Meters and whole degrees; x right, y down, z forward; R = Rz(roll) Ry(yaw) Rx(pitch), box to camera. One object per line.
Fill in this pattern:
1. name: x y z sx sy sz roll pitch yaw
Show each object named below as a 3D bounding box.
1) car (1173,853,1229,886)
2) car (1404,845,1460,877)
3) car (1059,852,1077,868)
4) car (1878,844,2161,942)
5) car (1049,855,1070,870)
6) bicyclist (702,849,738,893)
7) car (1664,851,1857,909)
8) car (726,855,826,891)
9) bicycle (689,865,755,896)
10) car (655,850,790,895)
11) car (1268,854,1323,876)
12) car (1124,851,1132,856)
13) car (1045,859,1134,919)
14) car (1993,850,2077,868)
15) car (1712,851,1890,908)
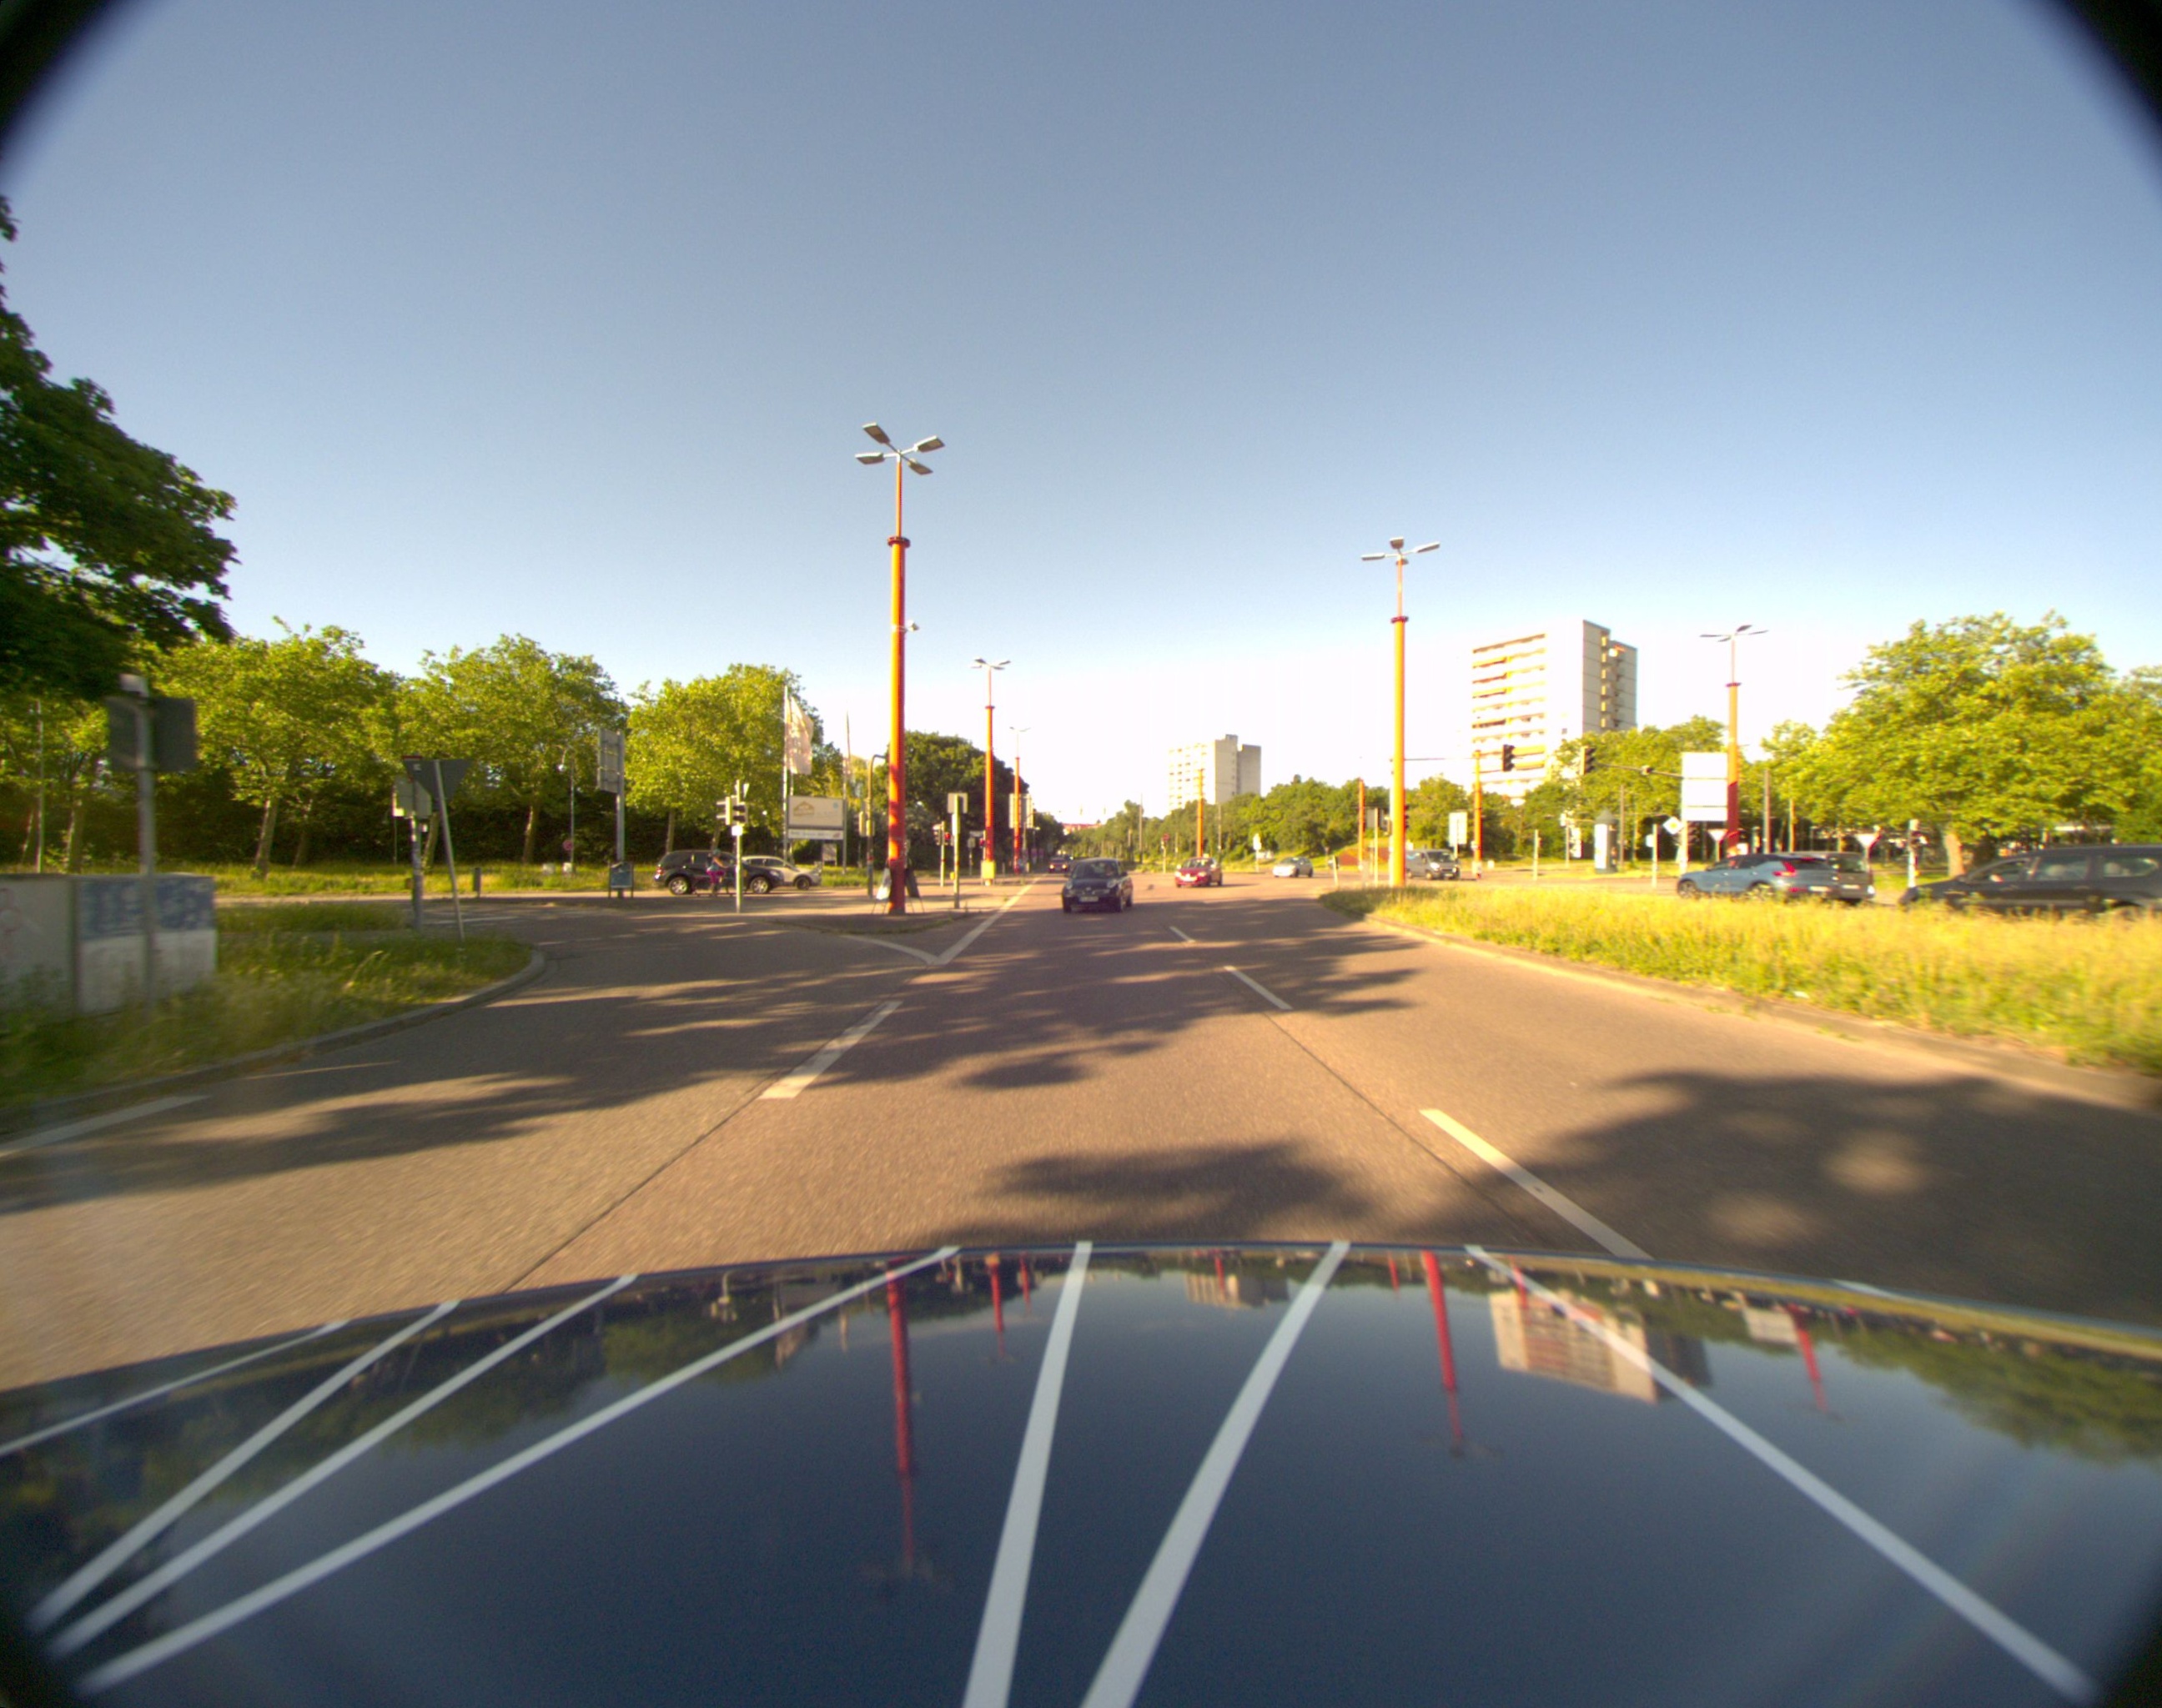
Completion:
1. car: 6.049 0.735 37.785 1.769 1.549 4.734 0 0 21
2. car: 24.912 0.472 54.139 2.038 2.191 5.664 -1 0 7
3. car: -1.438 0.656 85.663 1.999 1.722 4.818 0 0 0
4. car: 18.017 0.640 13.945 1.903 1.556 4.565 2 0 -1
5. car: -2.141 0.803 75.055 1.999 1.486 4.288 0 0 -3
6. bicyclist: -12.940 0.615 27.262 0.981 1.548 0.760 1 1 -11
7. car: 21.092 0.725 23.894 1.903 1.601 4.565 2 0 -1
8. car: -13.769 0.836 34.515 4.095 1.529 1.770 0 0 -19
9. bicycle: -12.865 0.957 27.285 2.016 1.085 0.765 1 1 -11
10. car: -14.214 0.702 30.436 4.657 1.716 1.905 0 0 -18
11. car: 15.695 0.776 55.483 1.909 1.549 4.736 0 0 44
12. car: 15.726 -0.211 254.421 1.999 1.694 4.692 -1 0 -3
13. car: 0.362 0.894 21.494 1.738 1.474 4.626 0 0 11
14. car: 80.404 0.471 64.130 4.040 1.478 1.818 -1 -1 21
15. car: 24.868 0.810 26.524 1.903 1.765 4.446 2 0 -1
